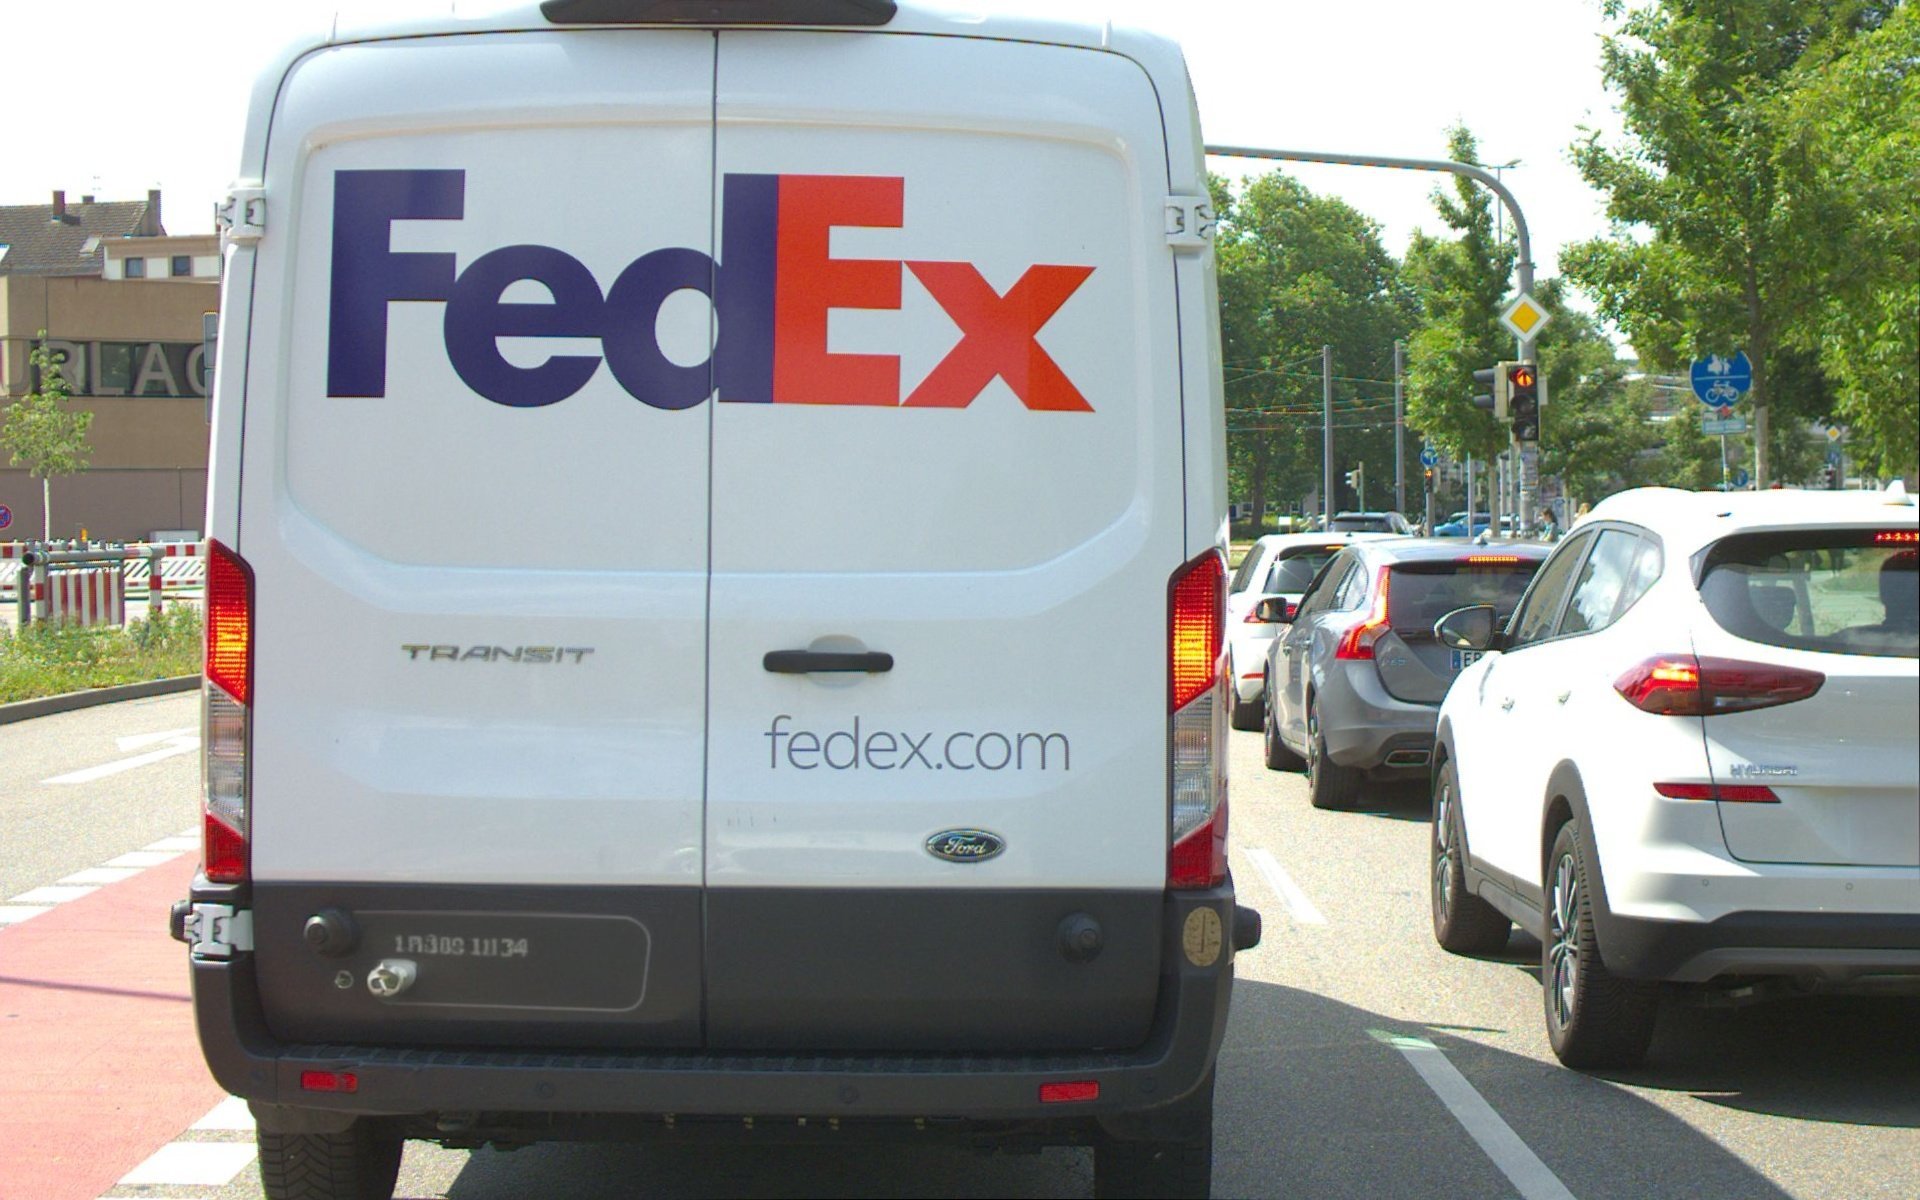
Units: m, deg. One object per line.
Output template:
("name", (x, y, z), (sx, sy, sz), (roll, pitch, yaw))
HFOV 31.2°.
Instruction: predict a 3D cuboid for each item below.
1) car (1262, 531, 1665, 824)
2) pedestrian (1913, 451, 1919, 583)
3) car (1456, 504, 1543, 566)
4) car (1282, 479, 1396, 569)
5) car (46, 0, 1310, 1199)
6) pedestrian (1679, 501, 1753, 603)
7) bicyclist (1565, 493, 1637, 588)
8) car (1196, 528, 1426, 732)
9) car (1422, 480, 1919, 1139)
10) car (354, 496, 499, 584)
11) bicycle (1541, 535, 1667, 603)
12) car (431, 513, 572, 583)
("car", (2.737, 0.361, 19.445), (1.798, 1.456, 3.838), (0, 2, 1))
("pedestrian", (15.380, -1.300, 53.778), (0.739, 2.051, 0.846), (0, 2, 28))
("car", (16.063, -1.921, 102.251), (1.995, 1.787, 4.368), (0, 1, 16))
("car", (8.792, -1.737, 79.399), (2.094, 2.007, 4.641), (0, 1, 13))
("car", (-0.603, 0.019, 8.704), (2.140, 2.643, 5.705), (0, 1, -3))
("pedestrian", (10.392, -0.662, 47.294), (0.845, 1.384, 0.741), (-1, 1, -1))
("bicyclist", (10.058, -0.938, 53.946), (0.967, 1.469, 0.552), (-1, 1, -18))
("car", (2.625, 0.182, 26.263), (1.484, 1.423, 3.433), (0, 2, 1))
("car", (2.570, 0.479, 10.761), (1.798, 1.681, 4.000), (0, 2, 1))
("car", (-12.656, -1.421, 81.795), (1.995, 2.007, 3.998), (0, 1, 14))
("bicycle", (10.113, -0.493, 53.981), (1.920, 1.027, 0.548), (-1, 2, -19))
("car", (-10.641, -1.215, 79.995), (1.902, 1.579, 3.998), (0, 1, 14))
